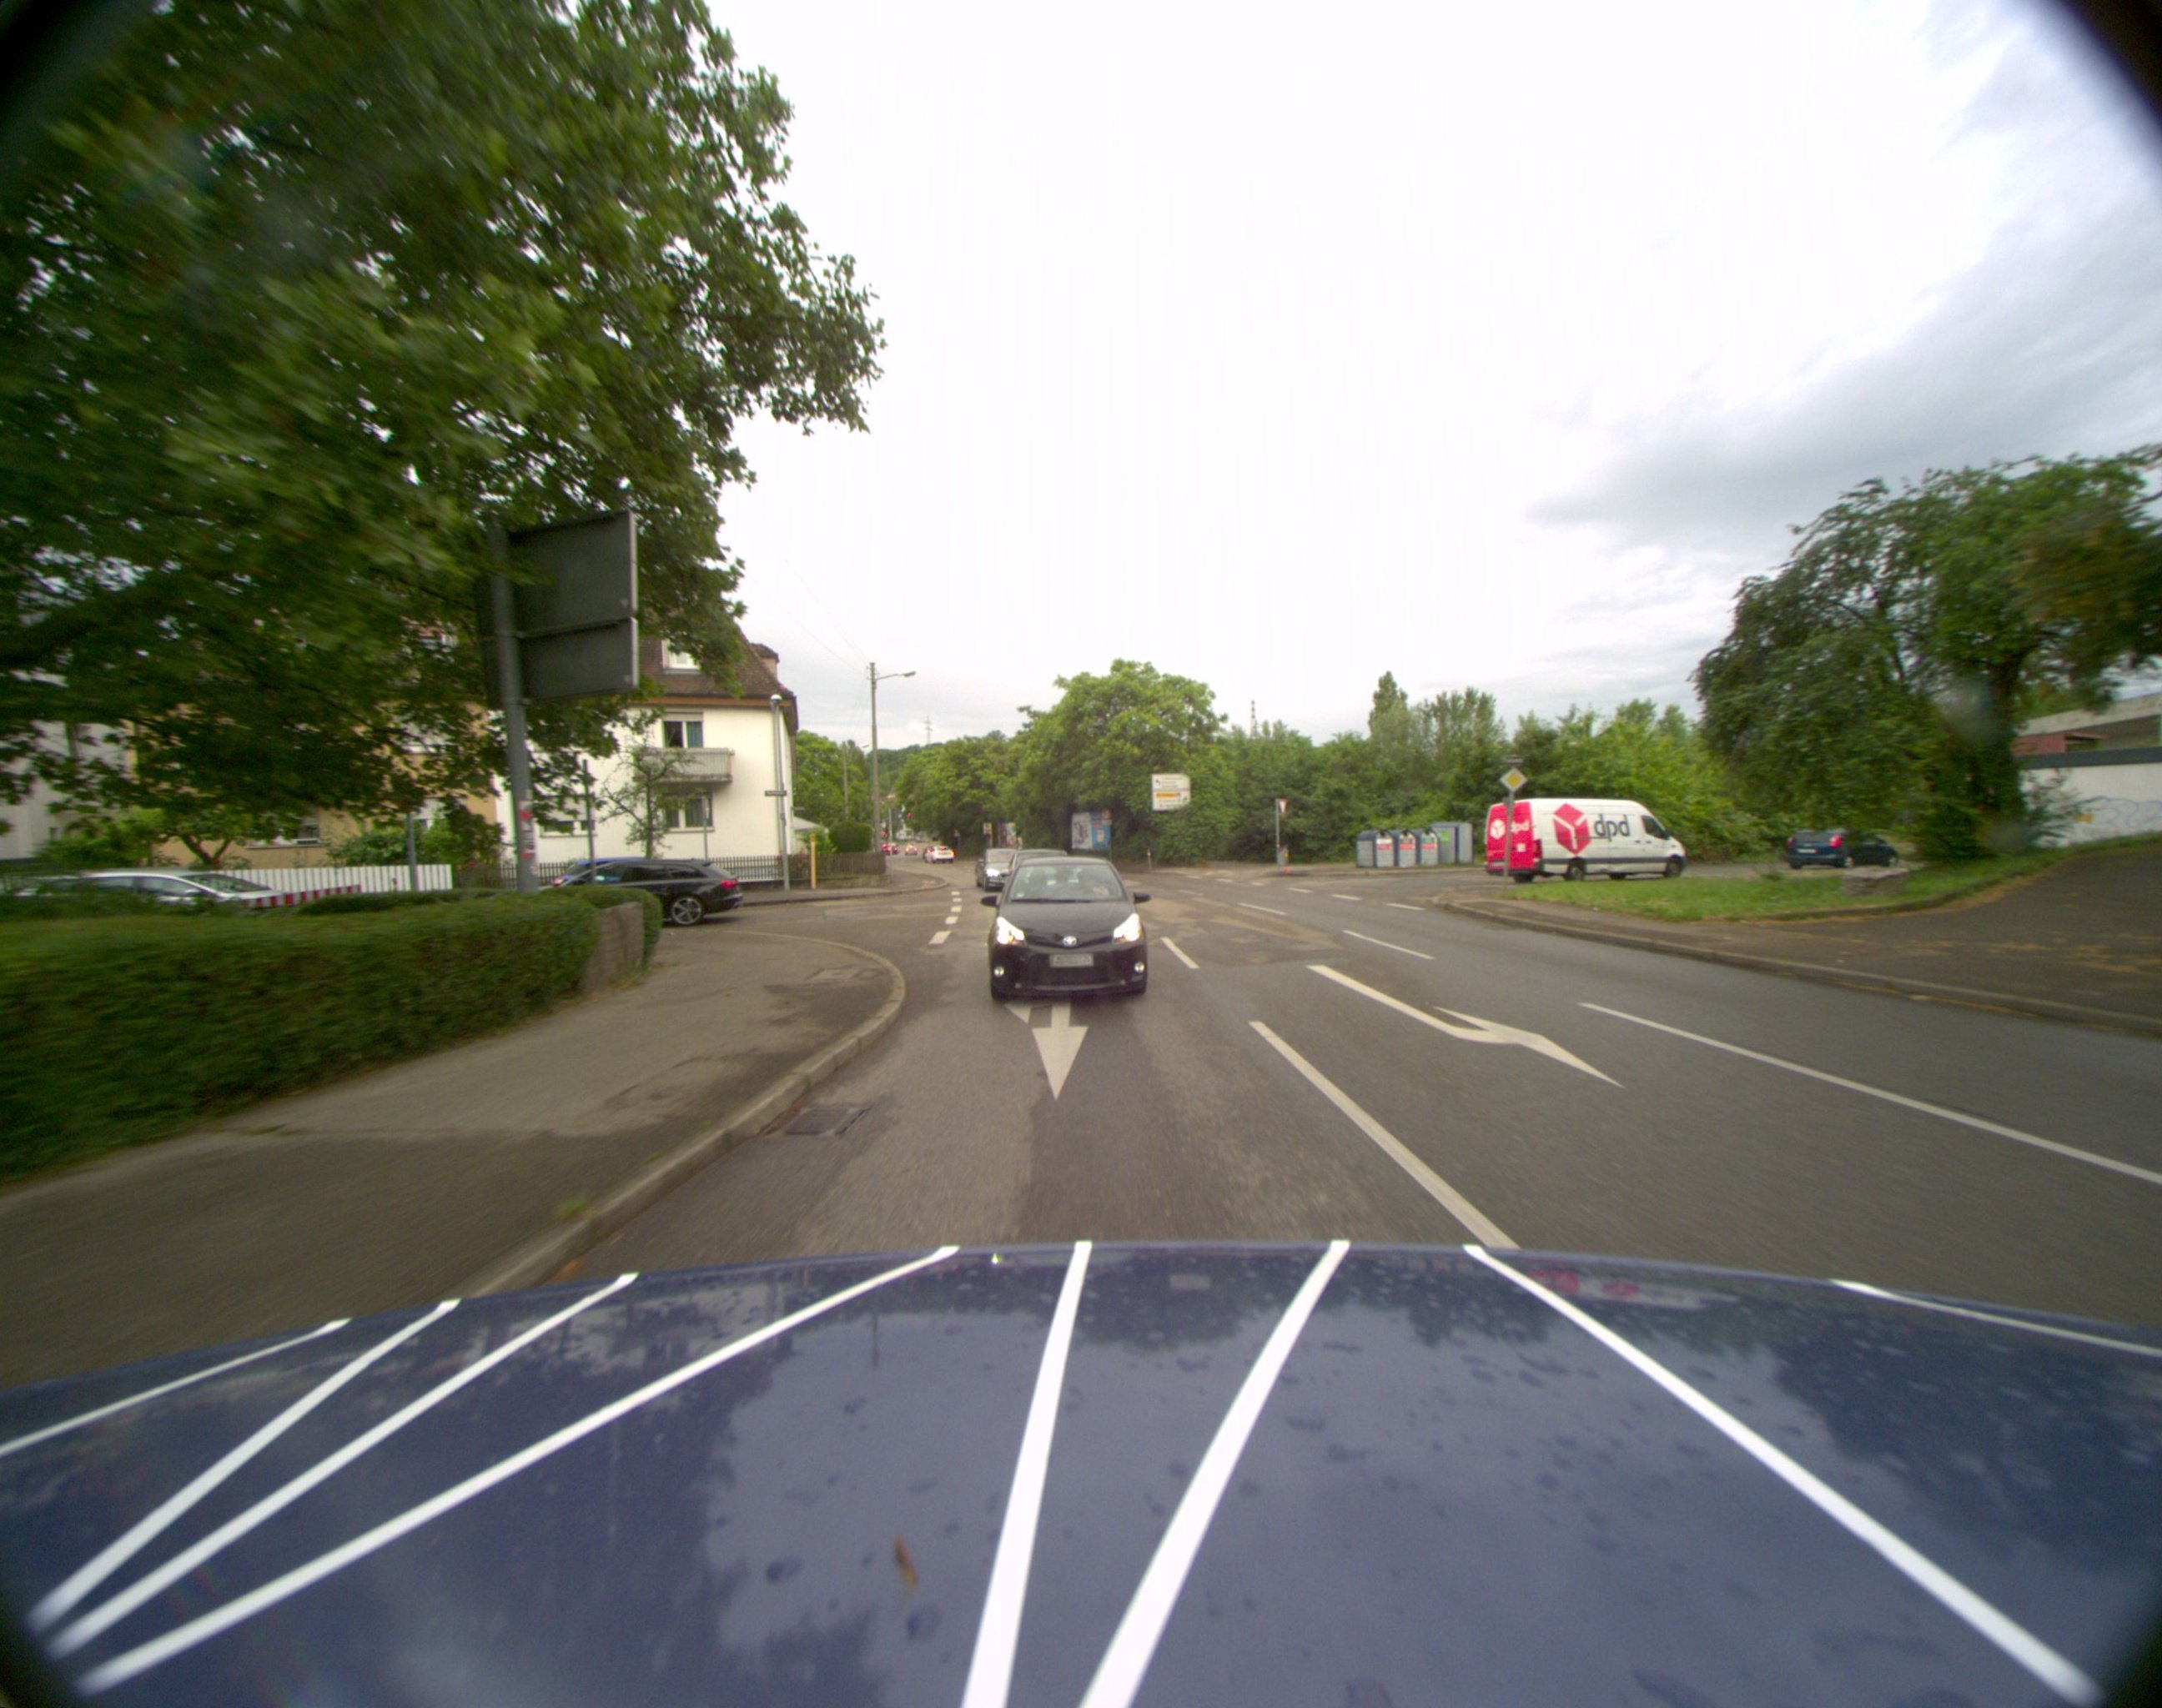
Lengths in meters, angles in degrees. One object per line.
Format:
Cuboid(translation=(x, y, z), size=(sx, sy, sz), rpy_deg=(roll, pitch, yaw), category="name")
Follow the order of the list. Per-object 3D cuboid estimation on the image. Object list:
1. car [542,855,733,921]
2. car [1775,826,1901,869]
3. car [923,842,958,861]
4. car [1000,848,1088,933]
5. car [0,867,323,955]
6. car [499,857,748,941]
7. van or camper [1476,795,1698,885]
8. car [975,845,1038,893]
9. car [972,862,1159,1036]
Cuboid(translation=(-11.193, 0.805, 19.535), size=(4.004, 1.456, 1.857), rpy_deg=(-1, 1, -23), category="car")
Cuboid(translation=(30.039, -0.258, 30.170), size=(4.072, 1.521, 1.996), rpy_deg=(-2, 1, -20), category="car")
Cuboid(translation=(-12.662, -0.211, 68.159), size=(1.844, 1.548, 5.562), rpy_deg=(-2, 1, -24), category="car")
Cuboid(translation=(-0.861, 0.688, 16.401), size=(1.645, 1.549, 3.626), rpy_deg=(-2, 1, -5), category="car")
Cuboid(translation=(-19.708, 1.143, 16.291), size=(4.396, 1.505, 1.997), rpy_deg=(-2, 1, -19), category="car")
Cuboid(translation=(-9.814, 0.900, 16.792), size=(4.397, 1.505, 1.996), rpy_deg=(-2, 1, -22), category="car")
Cuboid(translation=(15.982, -0.485, 23.970), size=(6.703, 2.507, 2.219), rpy_deg=(-2, 1, -20), category="van or camper")
Cuboid(translation=(-2.764, 0.487, 27.412), size=(1.709, 1.549, 3.995), rpy_deg=(-2, 1, -13), category="car")
Cuboid(translation=(-0.259, 0.884, 8.914), size=(1.645, 1.450, 3.998), rpy_deg=(-2, 0, -4), category="car")
